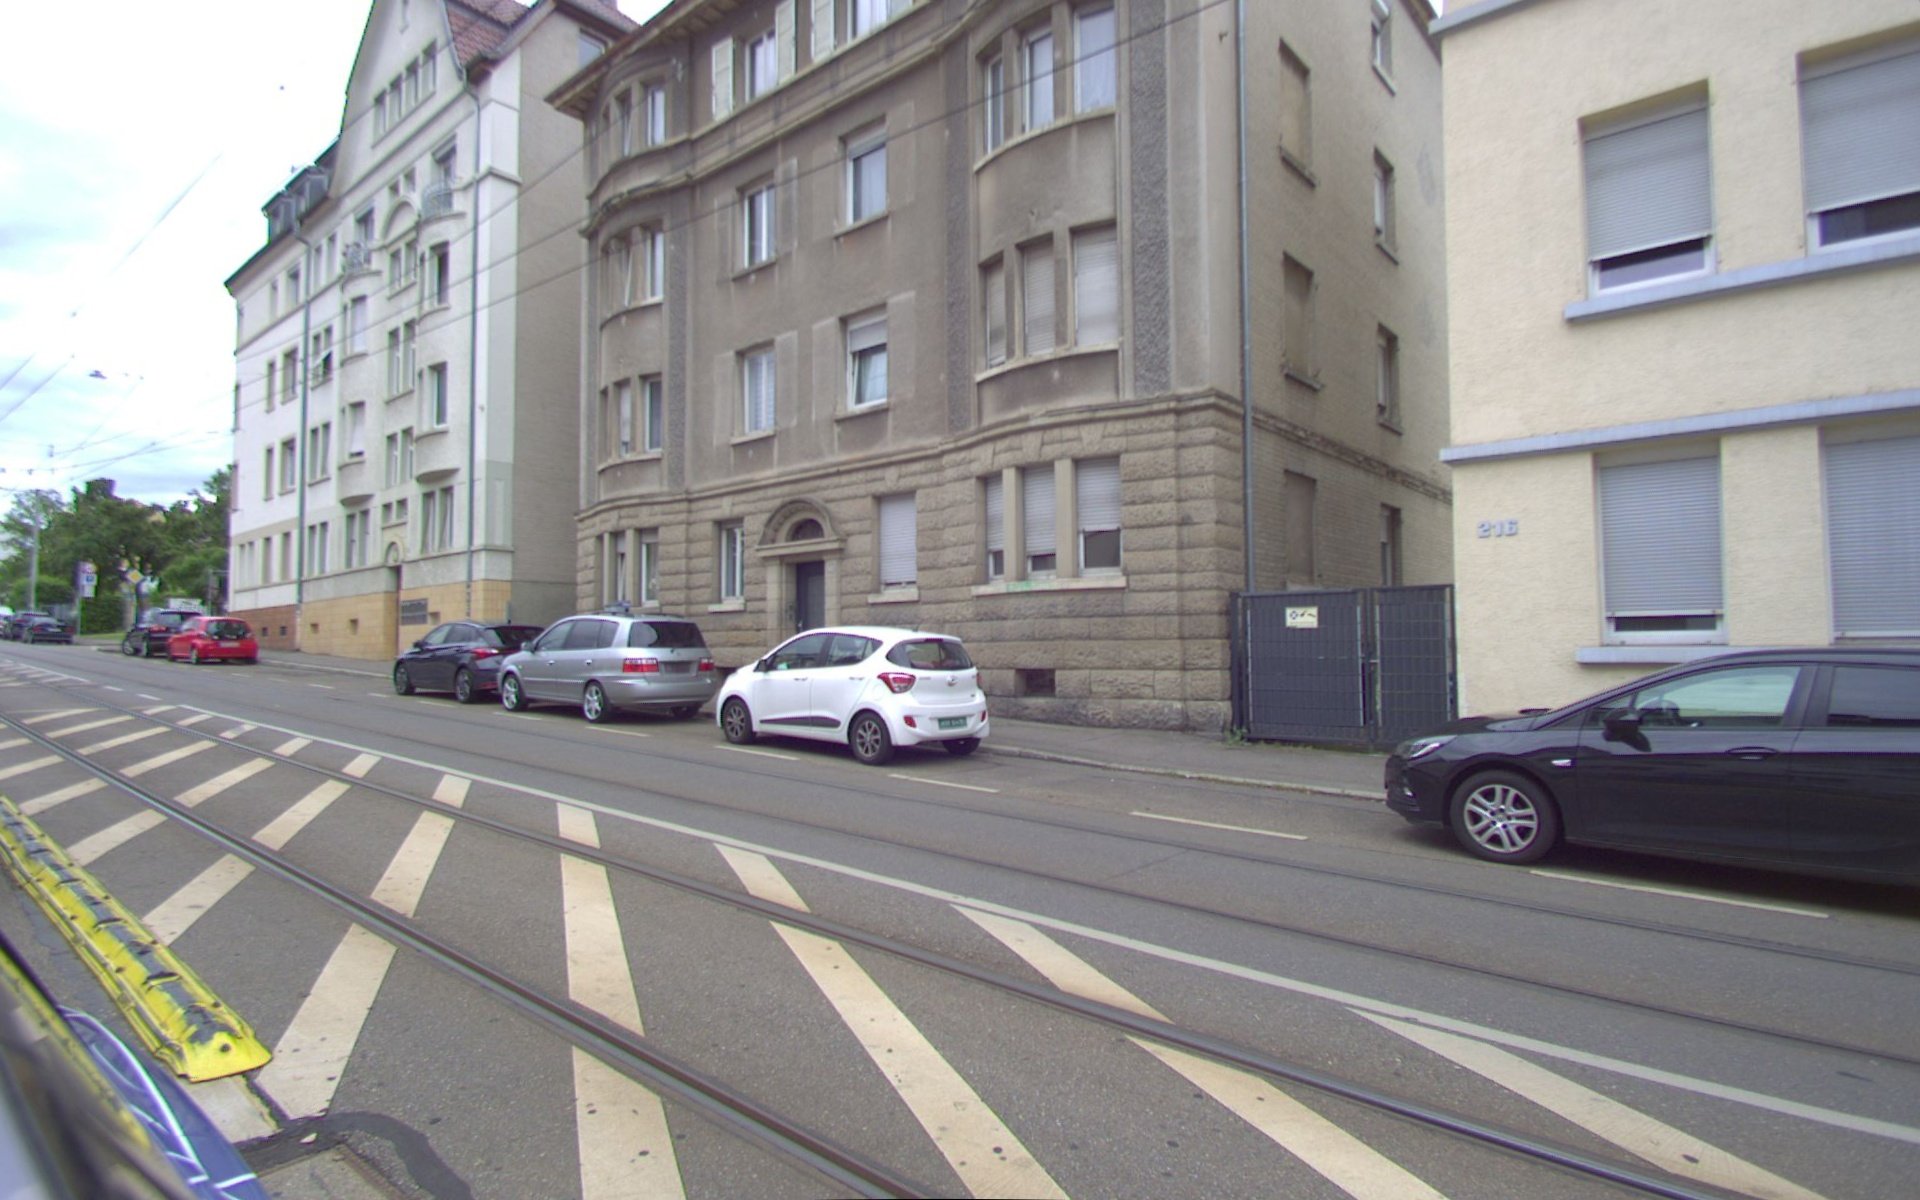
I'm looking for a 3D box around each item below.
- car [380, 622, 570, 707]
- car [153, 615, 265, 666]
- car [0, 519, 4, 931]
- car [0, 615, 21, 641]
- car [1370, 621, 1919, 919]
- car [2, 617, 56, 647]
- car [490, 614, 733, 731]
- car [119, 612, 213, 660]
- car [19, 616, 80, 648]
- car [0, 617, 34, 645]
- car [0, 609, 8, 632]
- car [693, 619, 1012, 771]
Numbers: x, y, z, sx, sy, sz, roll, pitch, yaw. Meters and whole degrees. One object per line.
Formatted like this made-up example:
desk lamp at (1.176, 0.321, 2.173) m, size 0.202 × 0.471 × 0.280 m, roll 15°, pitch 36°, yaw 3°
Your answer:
car at (-9.194, 1.139, 19.067) m, size 4.042 × 1.391 × 1.721 m, roll 0°, pitch -1°, yaw 40°
car at (-23.638, 1.268, 31.820) m, size 3.945 × 1.470 × 1.722 m, roll 0°, pitch -3°, yaw 37°
car at (-6.671, 0.570, 5.397) m, size 4.674 × 1.852 × 1.863 m, roll 0°, pitch 0°, yaw 41°
car at (-60.081, 1.696, 63.113) m, size 3.949 × 1.537 × 1.721 m, roll 0°, pitch -3°, yaw 40°
car at (5.171, 0.945, 6.317) m, size 4.524 × 1.522 × 1.766 m, roll 0°, pitch -3°, yaw 41°
car at (-51.415, 1.760, 55.879) m, size 3.950 × 1.537 × 1.720 m, roll 0°, pitch -3°, yaw 41°
car at (-5.542, 1.023, 15.880) m, size 4.140 × 1.579 × 1.721 m, roll 0°, pitch -1°, yaw 40°
car at (-27.457, 1.223, 34.976) m, size 3.949 × 1.537 × 1.721 m, roll 0°, pitch -3°, yaw 40°
car at (-46.599, 1.617, 51.788) m, size 3.949 × 1.537 × 1.721 m, roll 0°, pitch -3°, yaw 40°
car at (-56.330, 1.801, 59.885) m, size 3.949 × 1.537 × 1.721 m, roll 0°, pitch -3°, yaw 40°
car at (-64.698, 1.318, 67.146) m, size 3.949 × 1.537 × 1.721 m, roll 0°, pitch -3°, yaw 40°
car at (-1.395, 1.020, 12.267) m, size 3.799 × 1.522 × 1.720 m, roll 0°, pitch -2°, yaw 41°
